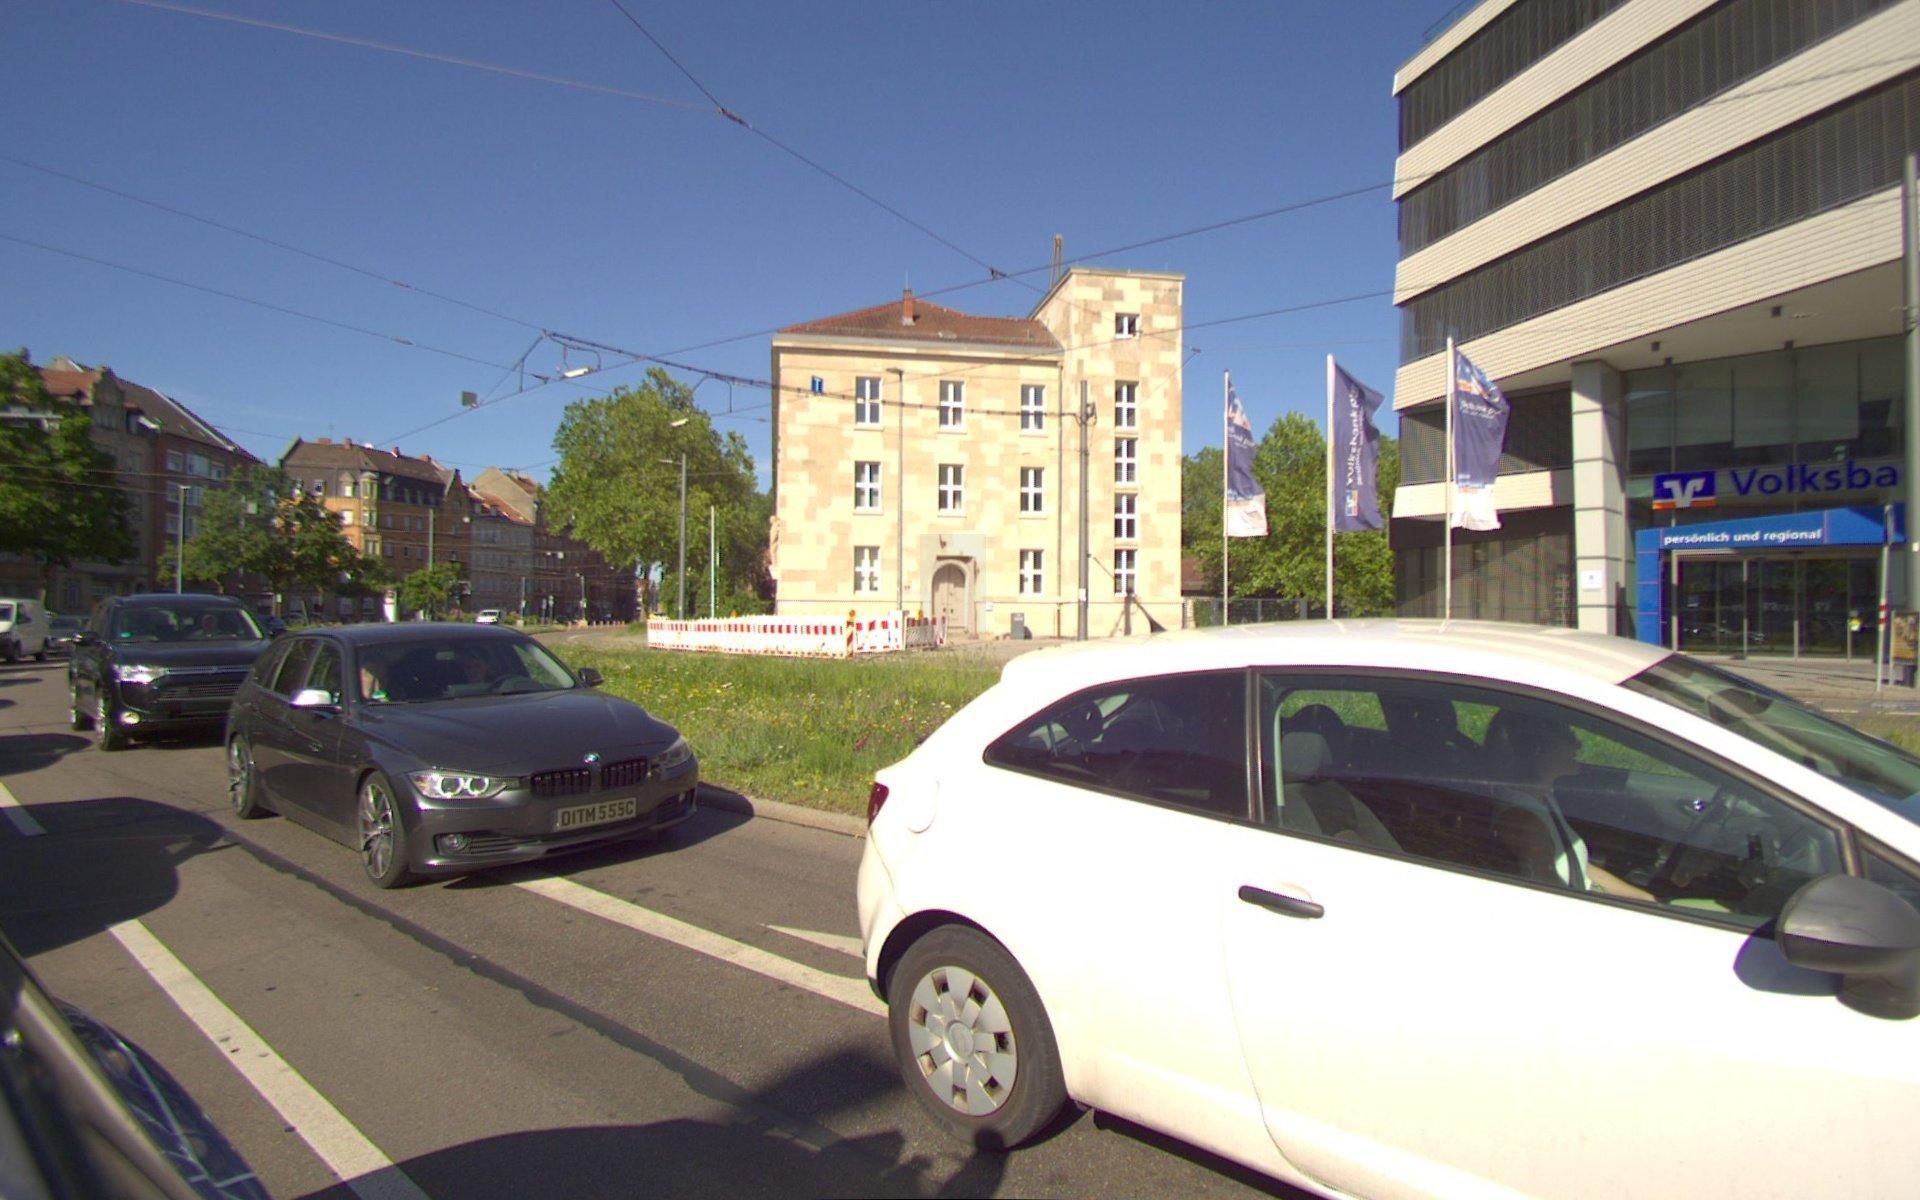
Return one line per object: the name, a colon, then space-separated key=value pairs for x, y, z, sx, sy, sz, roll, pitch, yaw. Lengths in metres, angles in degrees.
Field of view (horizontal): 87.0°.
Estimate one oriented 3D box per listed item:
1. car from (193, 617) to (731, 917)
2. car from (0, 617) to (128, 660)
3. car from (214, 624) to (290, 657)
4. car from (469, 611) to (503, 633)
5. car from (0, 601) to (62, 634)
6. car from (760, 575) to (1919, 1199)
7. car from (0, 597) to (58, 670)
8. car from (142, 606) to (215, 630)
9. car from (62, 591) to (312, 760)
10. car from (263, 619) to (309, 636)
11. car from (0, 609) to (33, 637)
car: x=-3.604 y=0.827 z=6.888 sx=4.424 sy=1.377 sz=1.719 roll=-1 pitch=0 yaw=41
car: x=-32.577 y=1.363 z=36.990 sx=1.809 sy=1.483 sz=4.728 roll=1 pitch=-1 yaw=-19
car: x=-38.398 y=2.168 z=54.998 sx=1.811 sy=1.659 sz=4.157 roll=1 pitch=-1 yaw=-10
car: x=-44.740 y=2.053 z=95.616 sx=1.967 sy=1.889 sz=4.602 roll=-1 pitch=0 yaw=-13
car: x=-49.936 y=0.885 z=52.801 sx=4.514 sy=1.680 sz=1.601 roll=2 pitch=-2 yaw=-43
car: x=1.475 y=0.695 z=2.488 sx=4.020 sy=1.452 sz=1.714 roll=0 pitch=2 yaw=40
car: x=-29.552 y=0.985 z=30.992 sx=1.950 sy=2.101 sz=4.727 roll=2 pitch=-1 yaw=-31
car: x=-53.937 y=1.267 z=69.882 sx=3.771 sy=1.603 sz=1.601 roll=2 pitch=-2 yaw=-44
car: x=-9.386 y=0.772 z=12.139 sx=1.817 sy=1.658 sz=4.400 roll=-1 pitch=-1 yaw=-45
car: x=-74.704 y=3.038 z=112.190 sx=3.931 sy=1.663 sz=1.868 roll=-1 pitch=0 yaw=-18
car: x=-48.770 y=1.146 z=50.394 sx=3.768 sy=1.390 sz=1.602 roll=2 pitch=-2 yaw=-41
